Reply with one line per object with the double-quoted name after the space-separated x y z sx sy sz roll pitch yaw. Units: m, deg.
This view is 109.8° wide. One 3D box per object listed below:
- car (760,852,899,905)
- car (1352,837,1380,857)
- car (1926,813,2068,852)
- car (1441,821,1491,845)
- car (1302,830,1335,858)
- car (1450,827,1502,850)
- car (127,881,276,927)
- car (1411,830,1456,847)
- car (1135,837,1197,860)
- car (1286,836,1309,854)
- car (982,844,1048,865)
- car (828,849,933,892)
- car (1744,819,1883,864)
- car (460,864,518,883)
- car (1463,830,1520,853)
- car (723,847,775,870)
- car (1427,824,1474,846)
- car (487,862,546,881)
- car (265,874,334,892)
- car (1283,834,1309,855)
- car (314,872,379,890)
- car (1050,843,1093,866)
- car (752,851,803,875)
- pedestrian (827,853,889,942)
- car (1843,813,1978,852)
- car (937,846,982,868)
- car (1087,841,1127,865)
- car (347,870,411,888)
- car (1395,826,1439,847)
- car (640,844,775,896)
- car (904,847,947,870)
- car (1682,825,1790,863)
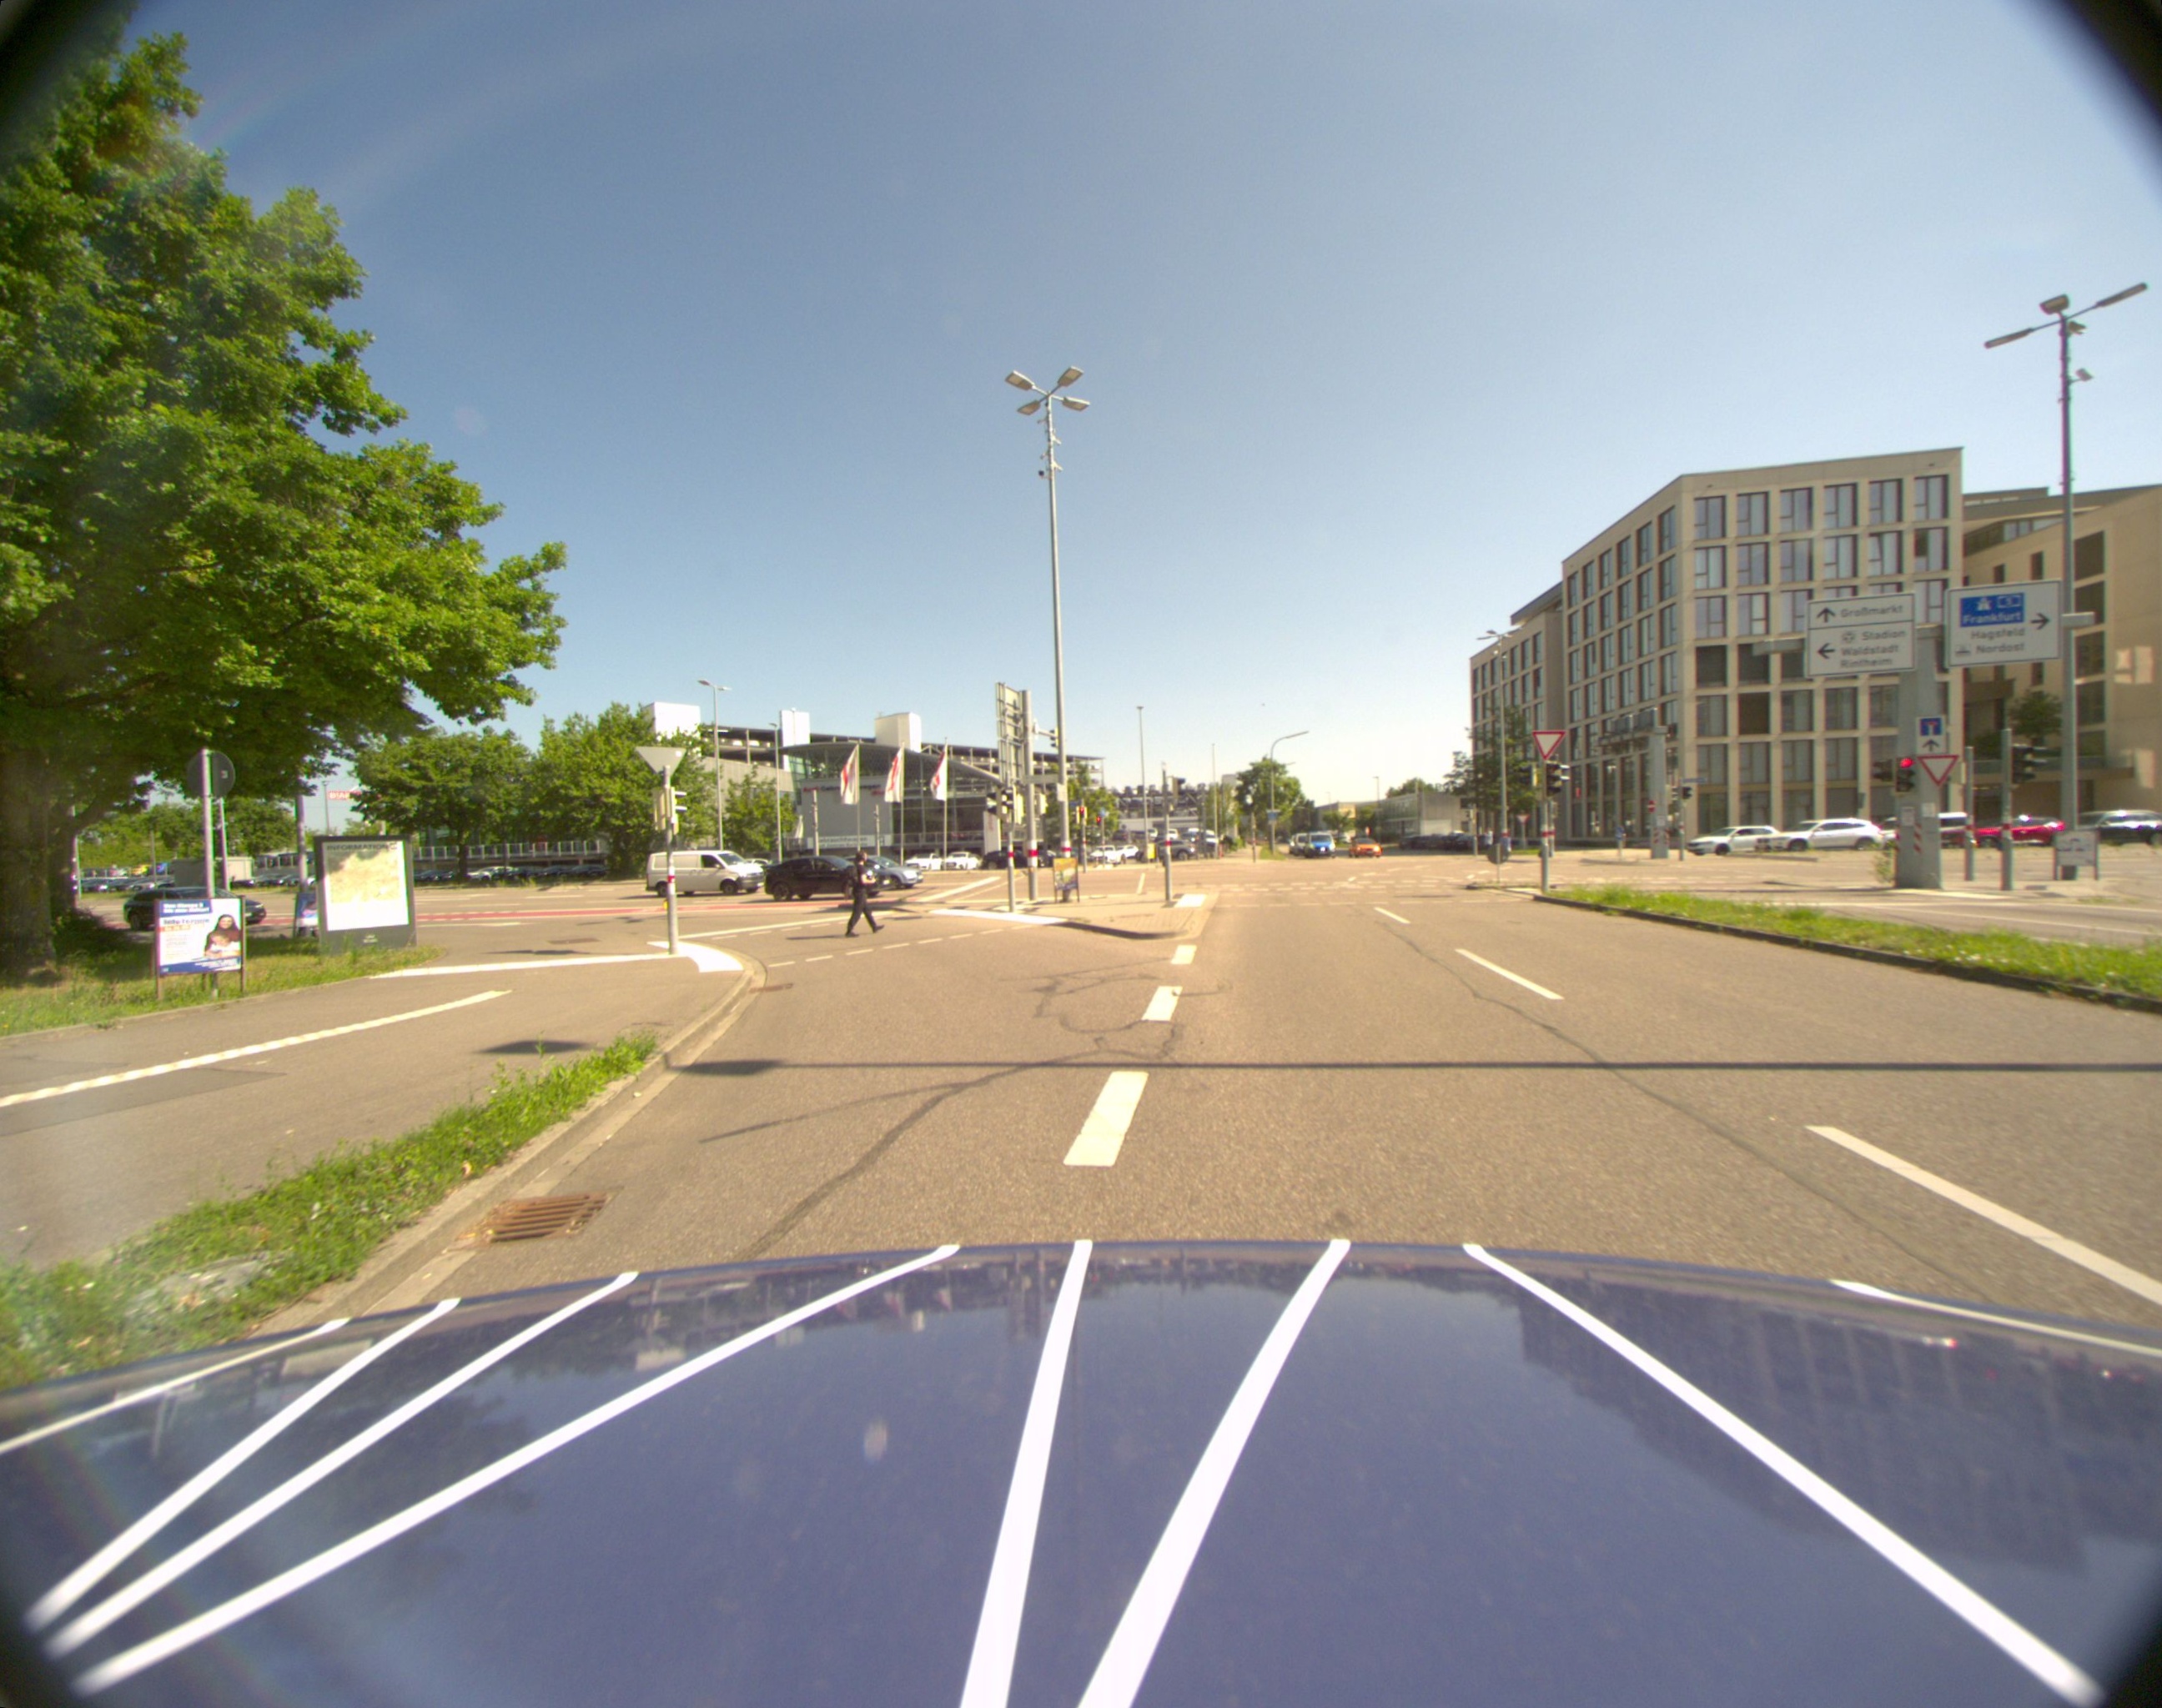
-9.256 0.883 28.150 4.498 1.618 1.716 -3 2 8 "car"
20.594 -0.519 55.000 1.736 1.356 3.870 -2 1 18 "car"
40.761 -0.948 33.895 4.115 1.519 1.531 -2 1 7 "car"
35.433 -1.937 70.009 3.989 2.002 2.003 -1 1 30 "car"
17.503 -0.768 55.910 2.183 1.898 4.736 -2 1 18 "car"
34.730 -1.355 66.821 3.989 1.816 2.003 -1 1 30 "car"
-32.133 1.801 27.784 4.231 1.456 1.773 -1 2 14 "car"
36.053 -1.599 77.656 3.989 1.605 2.003 -1 1 30 "car"
6.428 -0.408 57.083 4.475 1.578 1.981 -2 1 10 "car"
19.924 -0.862 69.998 1.911 1.485 3.868 -2 2 16 "car"
-4.726 0.036 54.644 4.346 1.342 1.822 -2 1 7 "car"
-8.413 0.685 32.033 3.824 1.604 1.761 -2 2 15 "car"
33.687 -0.595 35.035 4.307 1.827 2.027 -2 2 5 "car"
-46.459 1.539 59.674 1.638 1.317 3.173 -2 1 13 "car"
34.332 -1.056 63.647 3.991 1.728 2.002 -3 2 24 "car"
-24.604 0.337 56.472 1.784 1.564 3.890 -2 1 7 "car"
35.775 -1.861 73.517 3.989 2.002 2.003 -1 1 29 "car"
-44.081 1.353 59.432 1.593 1.242 3.420 -2 1 13 "car"
-62.379 2.279 60.698 1.593 1.242 3.420 -2 1 13 "car"
17.731 -0.828 62.766 1.665 1.548 3.857 -2 2 11 "car"
-59.388 2.138 61.515 1.593 1.242 3.420 -2 1 13 "car"
-0.588 0.035 53.338 1.996 1.452 4.004 -2 1 14 "car"
-22.388 0.648 56.221 1.784 1.564 3.890 -3 1 7 "car"
-4.642 0.879 15.847 0.704 1.770 0.961 -1 2 34 "pedestrian"
40.494 -1.027 37.173 4.226 1.702 1.905 -2 1 7 "car"
-8.643 0.201 54.413 2.002 1.414 4.116 -2 1 9 "car"
1.858 -0.081 53.110 1.885 1.452 4.003 -2 2 14 "car"
-56.339 2.012 61.044 1.593 1.242 3.420 -2 1 13 "car"
35.632 -1.849 80.597 3.989 2.002 2.003 -1 1 30 "car"
-16.120 0.689 32.873 4.993 1.996 1.741 -2 2 8 "car"
-11.115 0.287 54.573 1.784 1.462 3.890 -2 1 7 "car"
32.951 -0.522 38.317 3.762 1.703 1.834 -2 2 4 "car"
